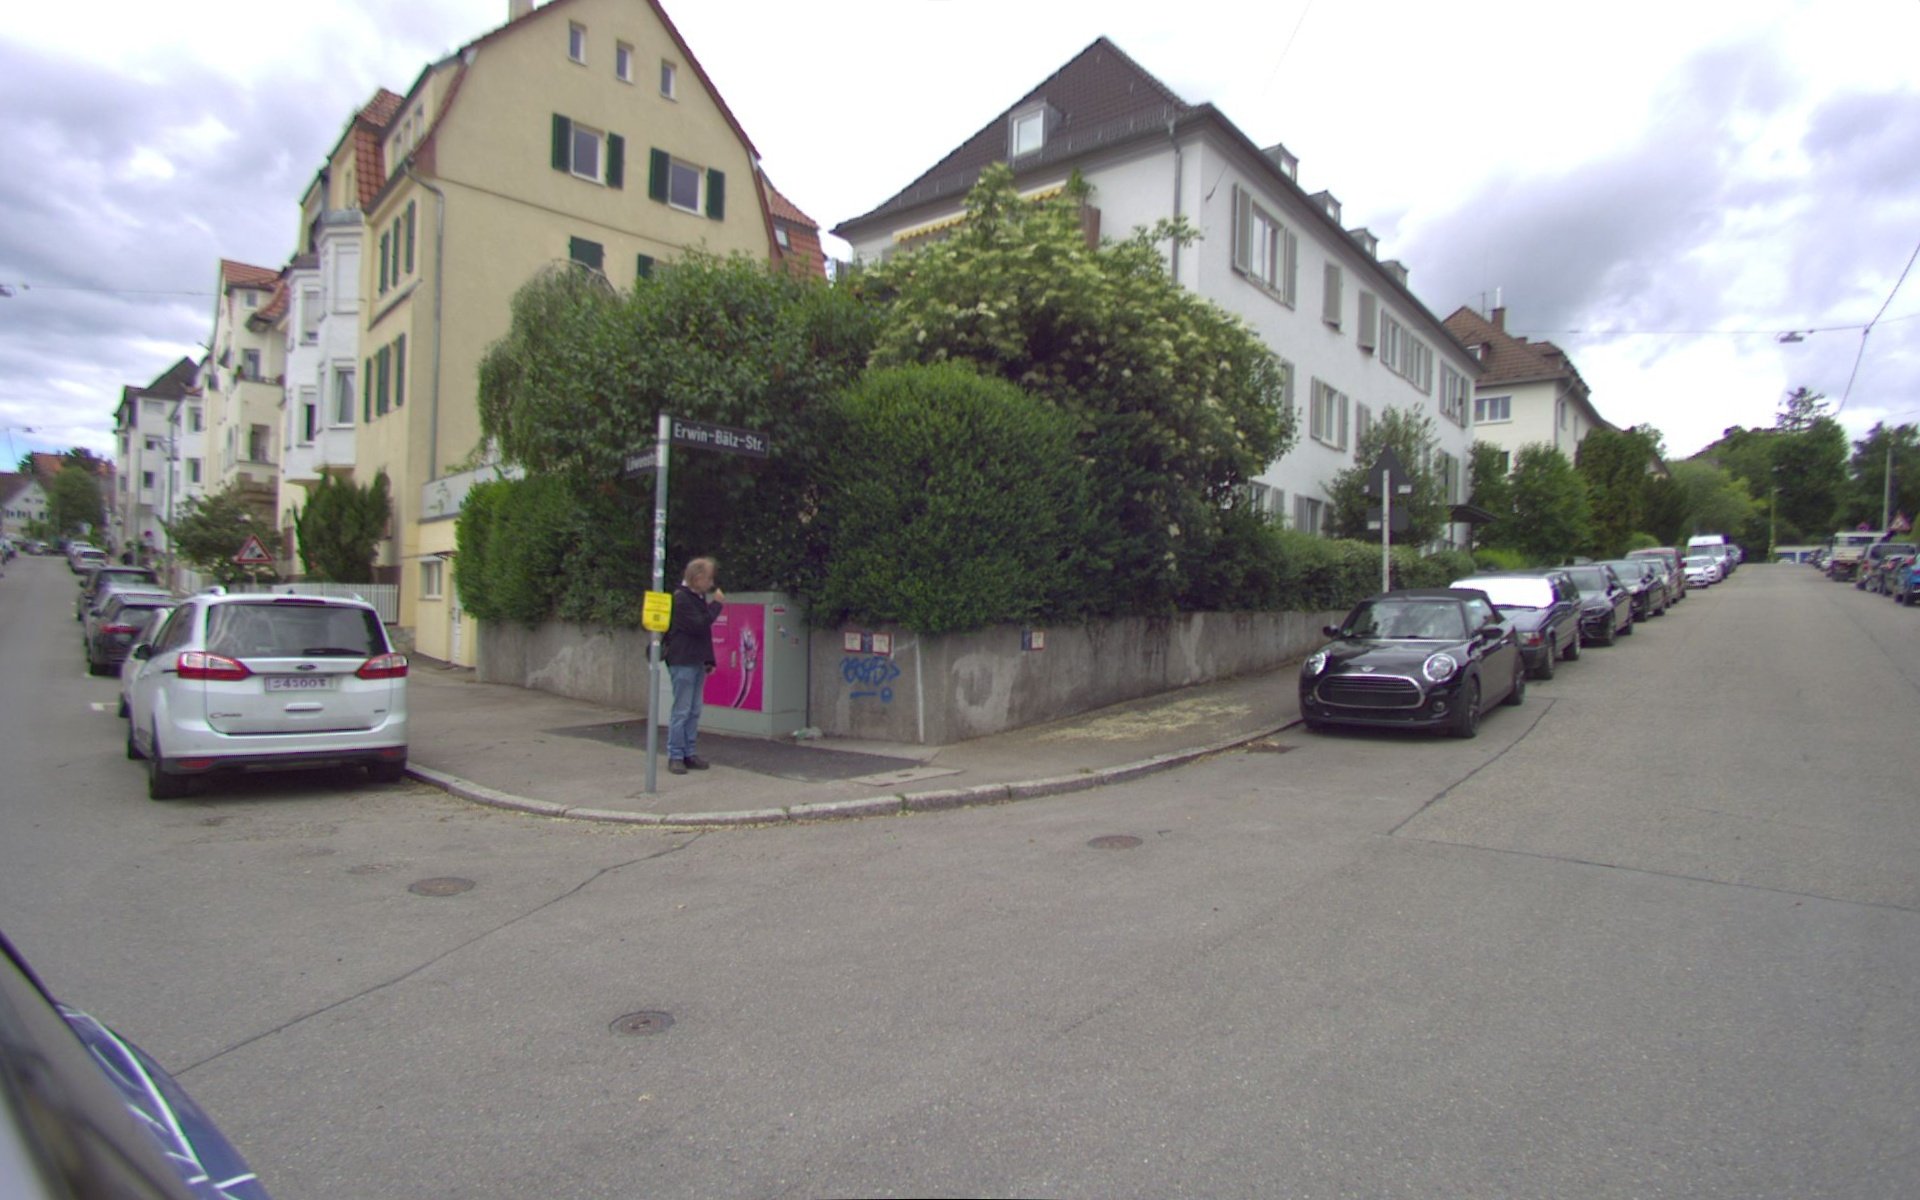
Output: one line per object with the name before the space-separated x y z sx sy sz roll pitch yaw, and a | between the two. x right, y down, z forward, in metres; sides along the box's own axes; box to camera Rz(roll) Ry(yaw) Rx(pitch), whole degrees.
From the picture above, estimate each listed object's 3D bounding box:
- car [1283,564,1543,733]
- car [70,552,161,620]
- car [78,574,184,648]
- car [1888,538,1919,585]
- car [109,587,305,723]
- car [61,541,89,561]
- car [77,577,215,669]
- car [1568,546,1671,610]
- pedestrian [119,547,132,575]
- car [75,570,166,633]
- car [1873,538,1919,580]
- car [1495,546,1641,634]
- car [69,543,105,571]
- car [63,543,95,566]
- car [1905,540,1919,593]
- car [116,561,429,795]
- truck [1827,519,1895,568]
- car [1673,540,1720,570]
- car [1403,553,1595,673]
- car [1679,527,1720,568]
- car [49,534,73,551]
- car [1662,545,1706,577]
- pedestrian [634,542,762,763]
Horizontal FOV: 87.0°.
car | 5.224 0.413 11.412 1.786 1.534 3.671 -1 2 39
car | -25.721 -0.454 30.780 1.729 1.810 4.153 3 0 -44
car | -19.254 0.219 23.433 1.619 1.439 4.129 4 0 -42
car | 32.460 -1.325 33.955 1.631 1.477 3.975 1 3 38
car | -9.747 0.638 12.999 1.587 1.464 3.618 5 -2 -42
car | -76.716 -4.275 87.724 1.756 1.578 4.007 2 2 -41
car | -15.657 0.378 19.374 1.781 1.491 4.334 2 0 -42
car | 16.818 -0.598 25.723 1.791 1.428 4.236 0 3 39
pedestrian | -50.267 -2.358 60.946 0.608 1.669 0.813 0 2 -41
car | -22.488 0.007 27.057 1.619 1.409 3.708 5 -1 -42
car | 35.049 -1.534 37.423 1.631 1.477 3.975 1 3 38
car | 12.256 -0.277 20.255 1.886 1.493 4.673 0 3 39
car | -55.020 -2.721 63.793 1.638 1.578 4.007 2 2 -41
car | -66.889 -3.462 76.857 1.756 1.578 4.007 2 2 -41
car | 28.463 -1.000 29.018 1.631 1.477 3.975 1 3 38
car | -6.511 0.587 9.383 1.782 1.672 4.156 2 -2 -42
truck | 45.911 -2.895 51.670 2.428 2.375 4.837 2 4 40
car | 38.448 -2.375 52.799 1.791 1.428 4.180 0 3 39
car | 8.464 0.083 15.659 1.886 1.493 4.675 0 3 38
car | 45.561 -3.234 62.401 1.971 2.417 4.640 0 2 35
car | -95.358 -6.118 107.354 1.756 1.578 4.007 1 2 -41
car | 33.856 -1.835 47.301 1.539 1.398 3.335 0 3 39
pedestrian | -2.206 0.422 8.561 0.816 1.773 0.640 -1 0 19
